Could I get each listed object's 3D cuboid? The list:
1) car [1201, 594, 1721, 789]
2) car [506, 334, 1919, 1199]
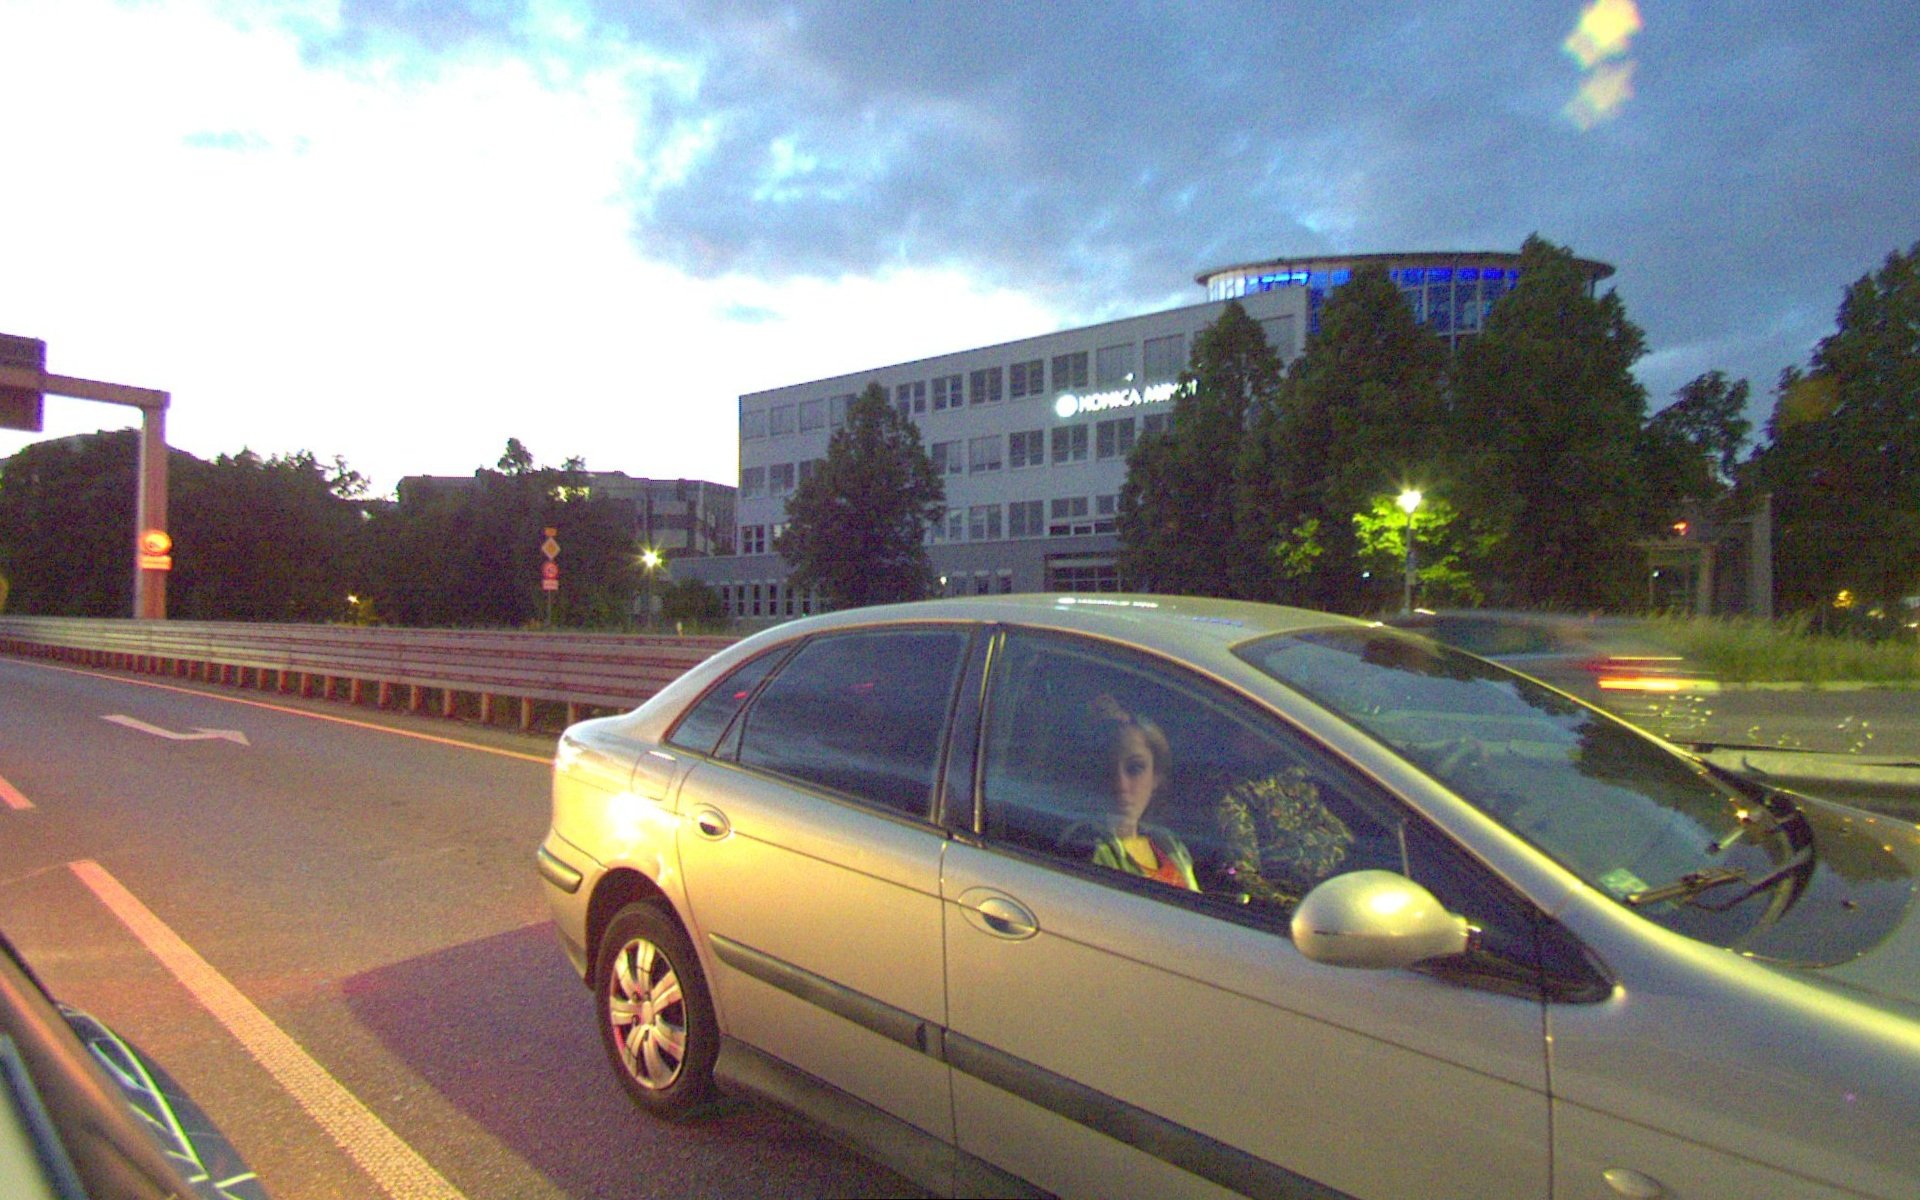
[{"bbox_3d":[4.562,0.731,9.646,4.111,1.454,1.738,-2,-2,44],"label":"car"},{"bbox_3d":[0.715,0.559,2.451,4.409,1.665,1.648,-1,0,42],"label":"car"}]
